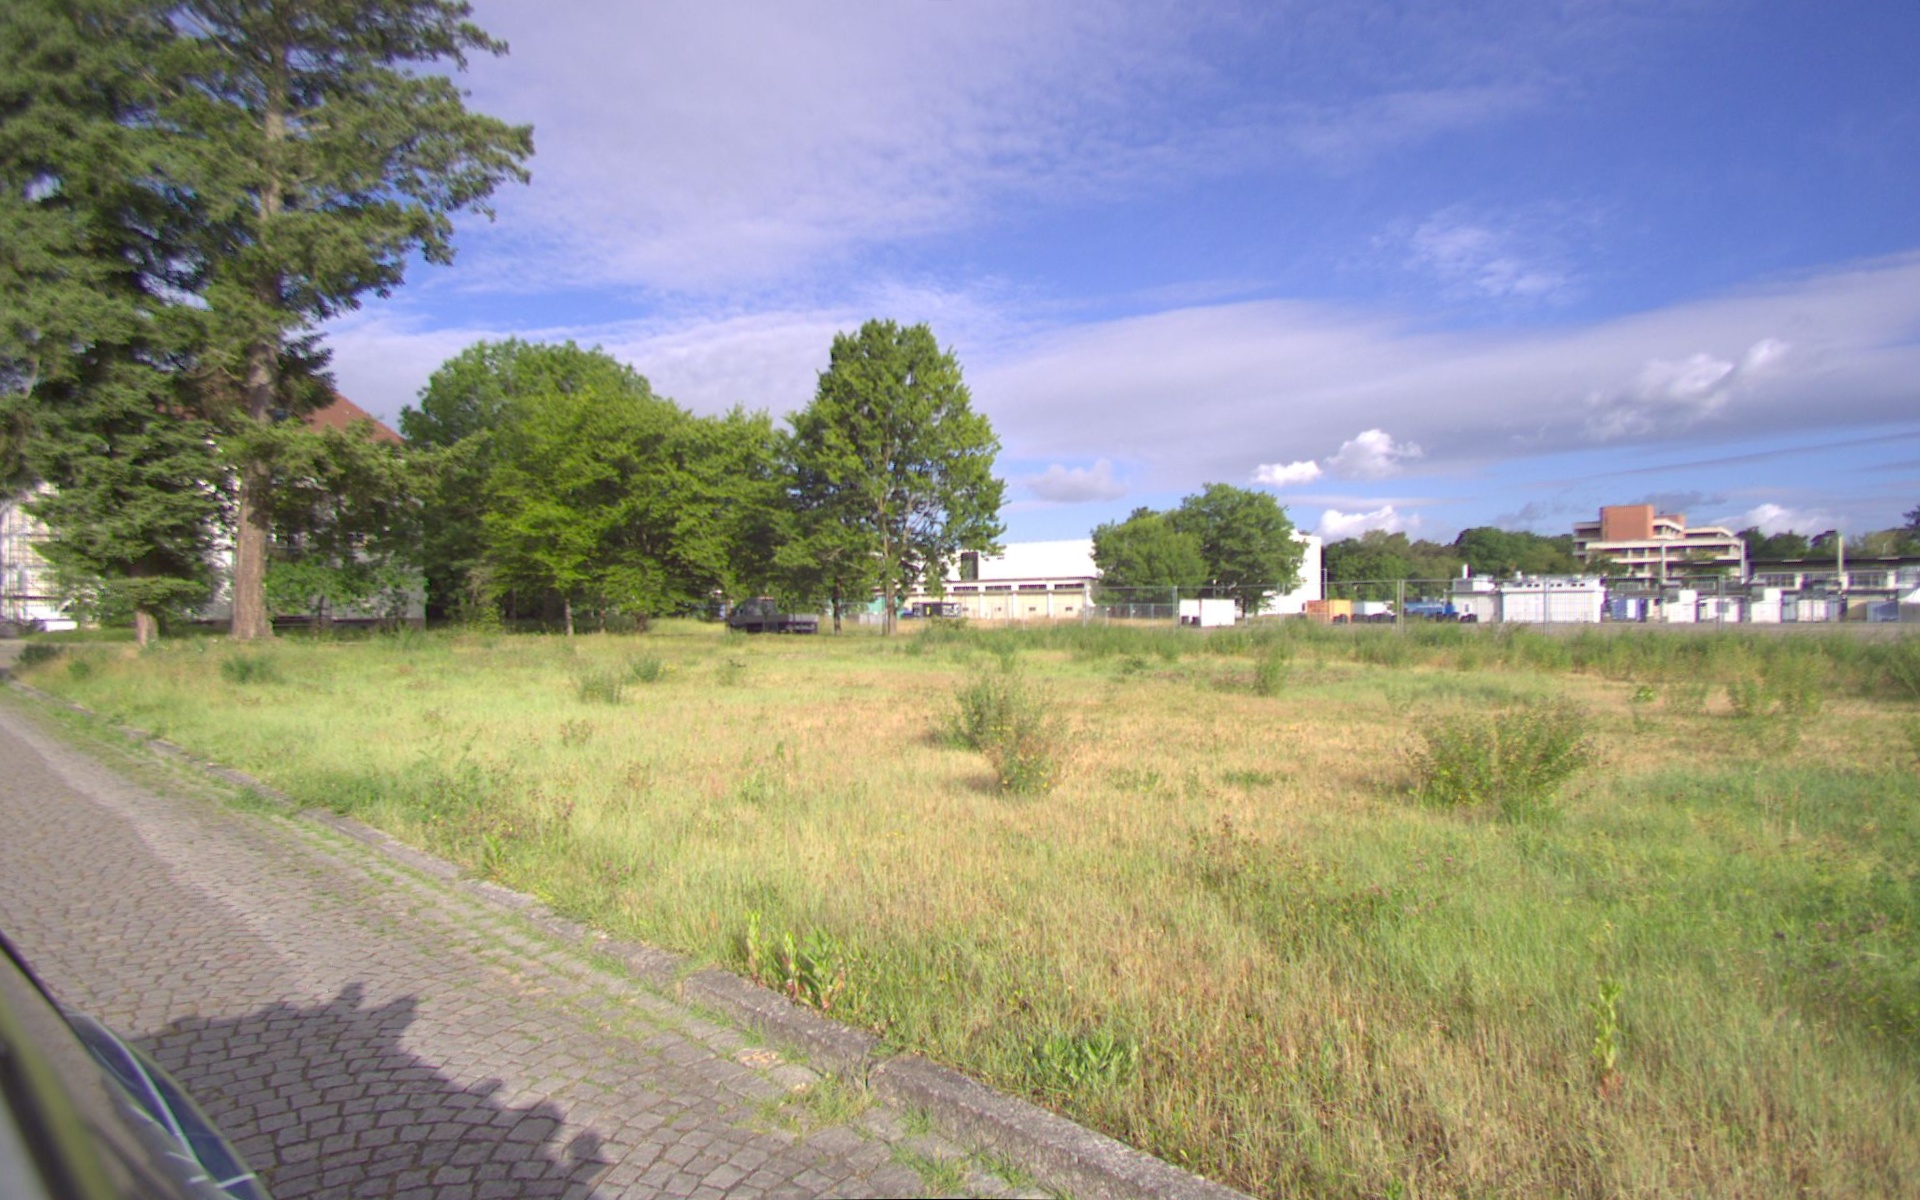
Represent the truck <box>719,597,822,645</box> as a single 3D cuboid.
[{"bbox_3d":[-11.046,1.227,58.553,2.384,2.606,6.961,0,-1,-45],"label":"truck"}]
